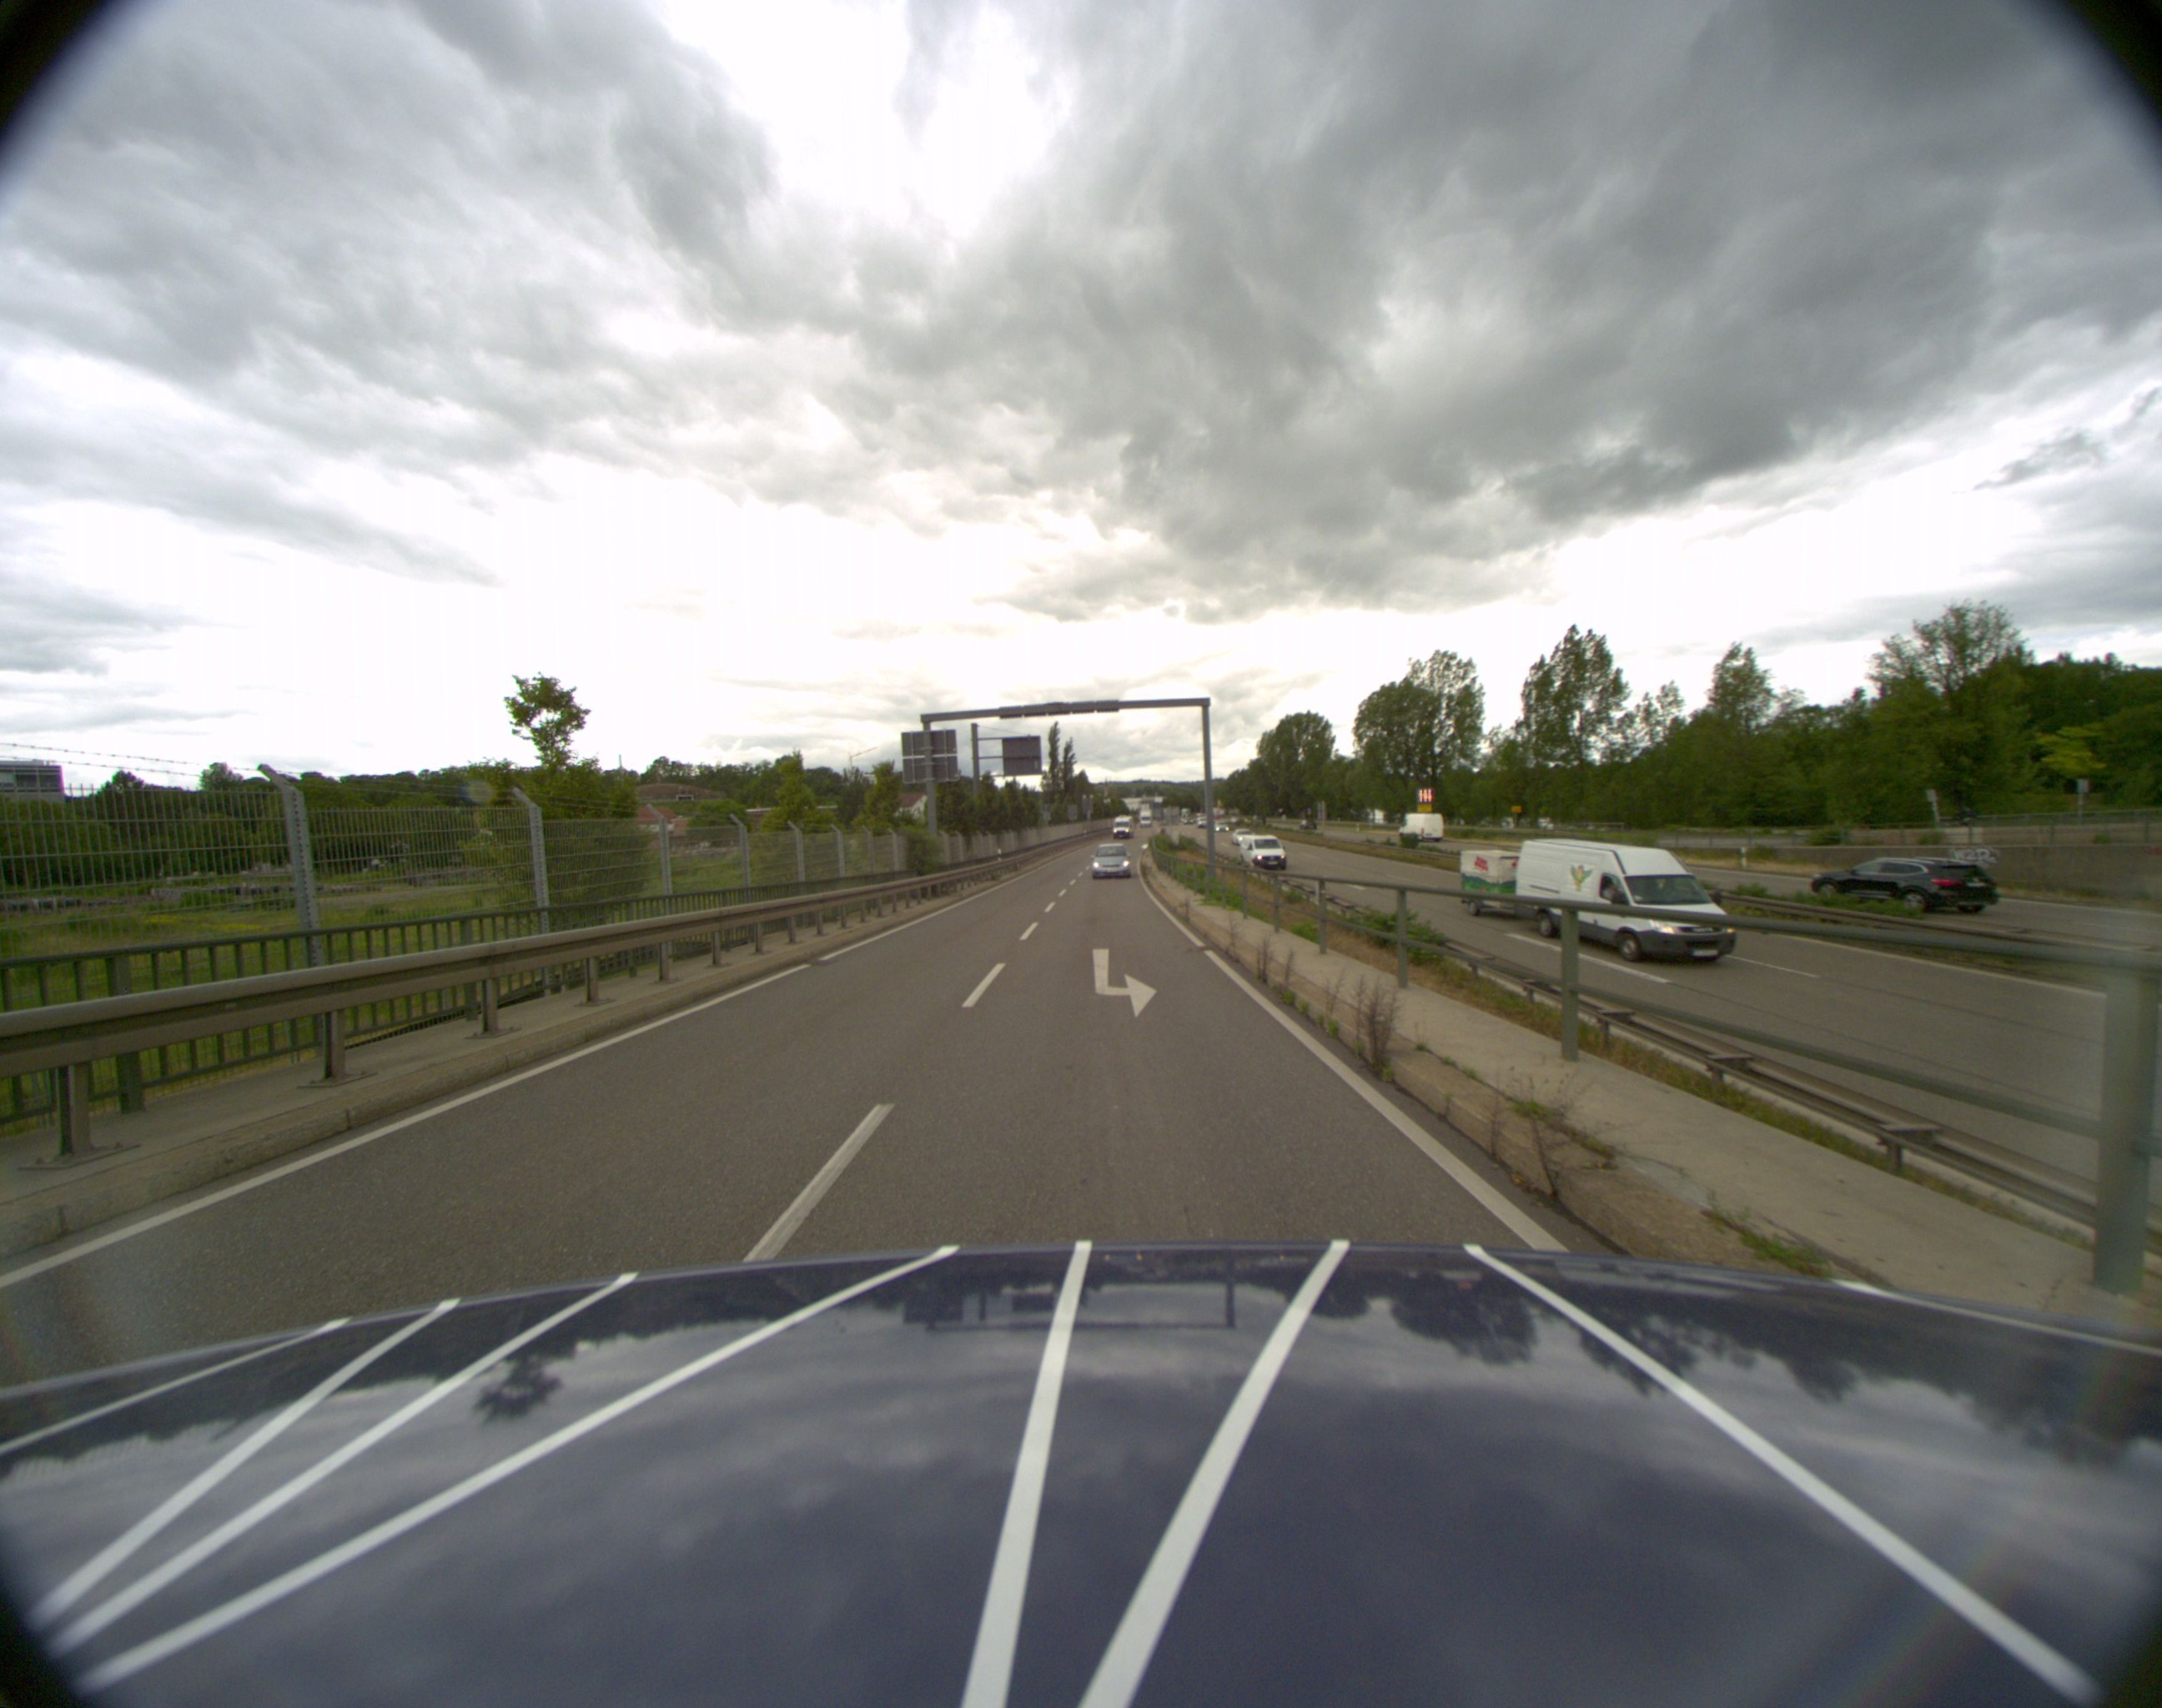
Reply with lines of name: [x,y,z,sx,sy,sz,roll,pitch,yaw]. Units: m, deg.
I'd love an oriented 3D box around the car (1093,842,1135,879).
car: [1.531,0.268,36.330,1.781,1.578,3.999,-2,1,0]

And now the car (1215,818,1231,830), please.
car: [20.653,-4.383,110.526,1.560,1.544,3.680,-2,4,0]

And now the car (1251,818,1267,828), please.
car: [31.378,-5.402,133.788,1.903,1.641,3.930,-2,3,1]

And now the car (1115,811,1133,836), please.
car: [5.298,-3.727,93.528,2.115,2.767,6.780,-2,1,4]

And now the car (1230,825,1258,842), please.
car: [15.260,-1.917,71.136,1.747,1.444,4.163,-2,3,0]

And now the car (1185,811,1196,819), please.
car: [25.786,-9.149,179.115,1.845,1.704,4.276,-3,4,0]

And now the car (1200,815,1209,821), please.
car: [33.454,-9.679,205.654,1.903,1.641,3.930,-2,3,1]

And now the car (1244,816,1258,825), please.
car: [33.263,-6.500,148.722,1.903,1.641,3.930,-2,3,1]

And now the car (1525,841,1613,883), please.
car: [23.738,0.345,37.158,1.761,1.641,3.929,-2,4,0]

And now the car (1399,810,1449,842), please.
car: [31.760,-2.623,70.467,2.215,2.765,5.357,-1,4,1]

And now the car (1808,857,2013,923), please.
car: [26.803,1.082,24.836,1.903,1.641,4.330,-1,4,1]

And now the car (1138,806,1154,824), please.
car: [12.995,-7.782,151.171,2.664,3.311,7.093,-2,2,8]

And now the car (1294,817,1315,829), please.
car: [32.338,-4.528,109.921,1.903,1.641,3.931,-2,2,1]

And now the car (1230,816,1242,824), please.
car: [33.978,-7.467,166.391,1.903,1.641,3.930,-2,3,1]

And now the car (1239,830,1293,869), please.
car: [10.964,-0.332,45.407,1.998,1.866,5.195,-2,4,1]

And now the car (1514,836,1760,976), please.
car: [13.719,1.075,19.422,1.998,2.671,5.929,-3,4,1]

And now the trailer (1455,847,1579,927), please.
trailer: [13.807,0.956,24.318,1.733,2.118,3.934,-2,4,1]

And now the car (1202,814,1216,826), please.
car: [22.242,-5.967,132.229,1.954,1.925,4.893,-2,4,3]
